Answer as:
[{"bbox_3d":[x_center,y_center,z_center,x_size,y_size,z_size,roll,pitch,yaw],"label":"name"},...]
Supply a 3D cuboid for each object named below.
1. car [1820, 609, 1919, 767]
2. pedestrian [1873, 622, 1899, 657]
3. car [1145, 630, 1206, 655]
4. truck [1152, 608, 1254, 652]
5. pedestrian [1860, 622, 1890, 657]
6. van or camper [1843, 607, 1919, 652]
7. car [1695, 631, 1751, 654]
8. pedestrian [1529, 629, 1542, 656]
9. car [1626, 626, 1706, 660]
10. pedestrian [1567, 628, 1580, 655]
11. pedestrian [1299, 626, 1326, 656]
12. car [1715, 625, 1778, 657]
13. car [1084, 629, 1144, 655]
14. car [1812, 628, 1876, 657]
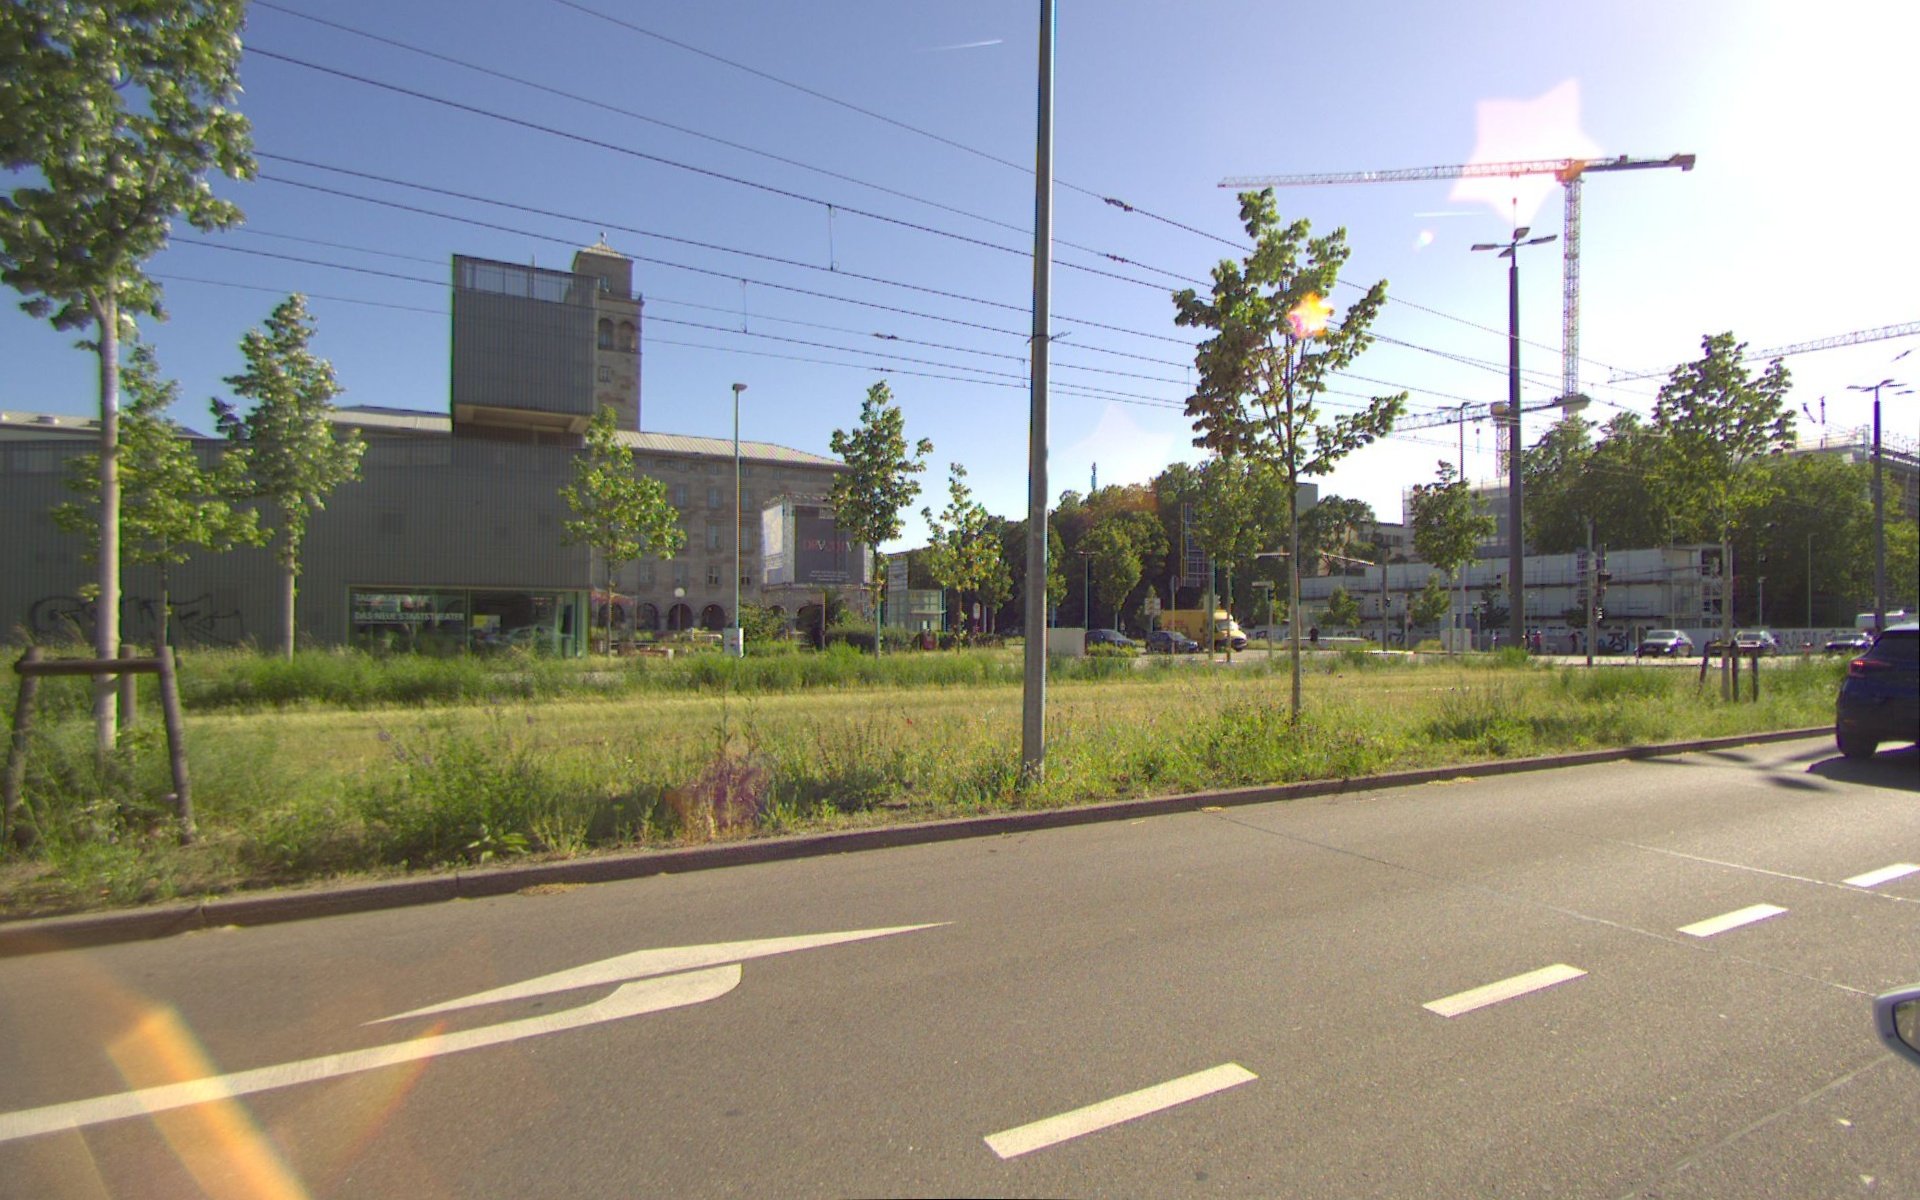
[{"bbox_3d":[11.686,0.958,11.377,4.041,1.609,1.761,1,0,-31],"label":"car"},{"bbox_3d":[50.298,2.143,54.554,0.966,1.847,0.795,1,-1,-33],"label":"pedestrian"},{"bbox_3d":[14.025,2.762,65.582,1.877,1.559,3.976,1,-1,-25],"label":"car"},{"bbox_3d":[16.551,2.014,69.036,2.429,2.829,7.985,1,-1,-25],"label":"truck"},{"bbox_3d":[48.472,2.075,53.222,0.864,1.847,0.803,0,-1,2],"label":"pedestrian"},{"bbox_3d":[63.330,2.021,68.592,7.261,2.976,2.591,1,-2,-32],"label":"van or camper"},{"bbox_3d":[55.804,3.064,73.454,3.954,1.622,1.984,1,-2,-31],"label":"car"},{"bbox_3d":[40.741,2.994,71.123,0.687,1.847,0.595,0,-1,22],"label":"pedestrian"},{"bbox_3d":[36.924,2.211,52.500,4.040,1.711,1.818,1,-1,-28],"label":"car"},{"bbox_3d":[40.912,2.762,66.996,0.687,1.847,0.595,0,-1,22],"label":"pedestrian"},{"bbox_3d":[20.665,2.411,58.850,0.934,1.708,1.189,-1,0,-24],"label":"pedestrian"},{"bbox_3d":[50.016,2.588,63.889,3.954,1.981,1.861,1,-1,-31],"label":"car"},{"bbox_3d":[9.717,2.618,63.668,1.877,1.559,3.976,1,-1,-25],"label":"car"},{"bbox_3d":[56.135,2.692,63.737,4.319,1.730,1.935,1,-1,-32],"label":"car"}]
